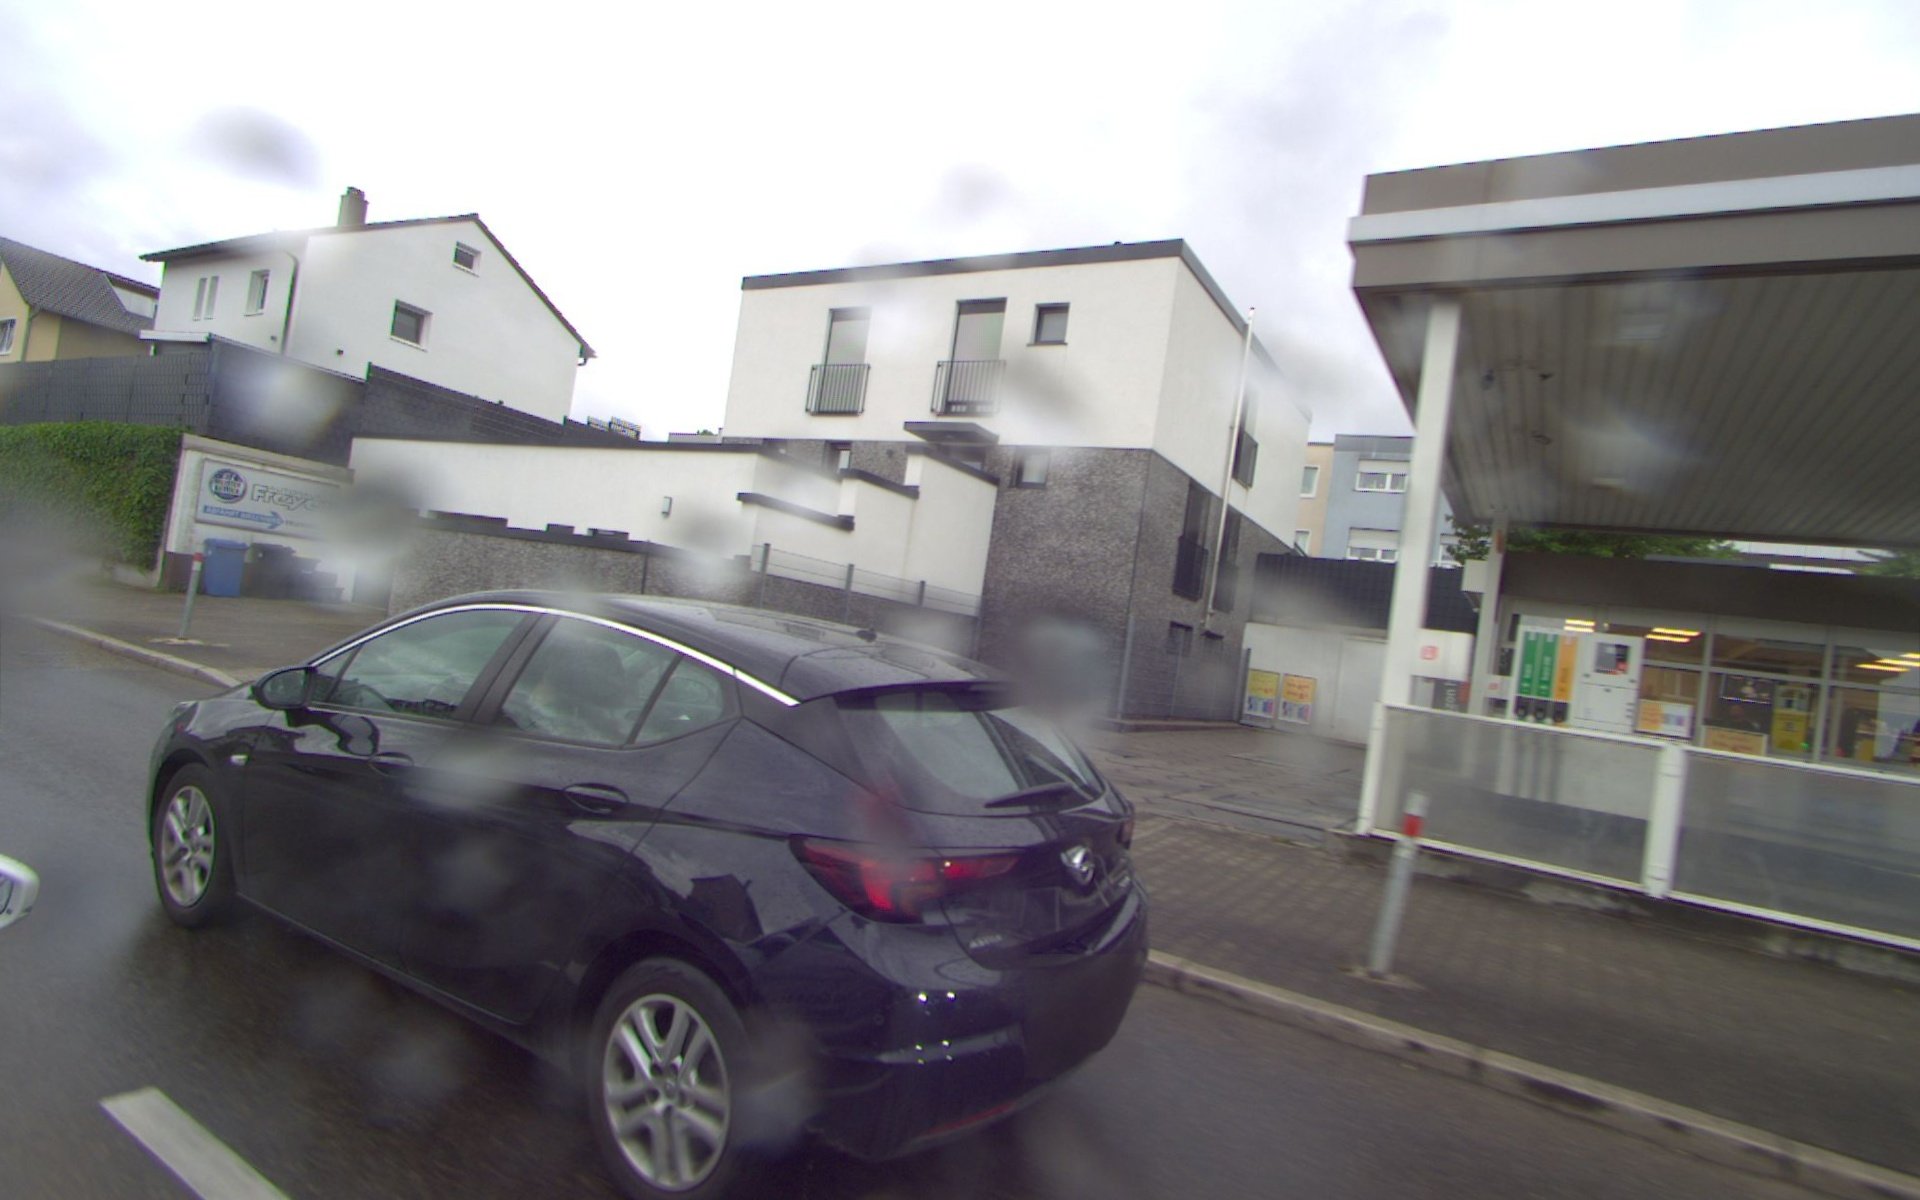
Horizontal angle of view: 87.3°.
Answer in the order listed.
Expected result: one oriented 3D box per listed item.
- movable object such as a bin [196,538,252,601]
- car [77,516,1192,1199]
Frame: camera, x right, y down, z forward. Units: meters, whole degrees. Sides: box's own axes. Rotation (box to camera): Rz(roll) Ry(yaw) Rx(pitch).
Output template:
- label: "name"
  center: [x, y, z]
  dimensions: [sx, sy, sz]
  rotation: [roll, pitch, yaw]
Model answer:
- label: "movable object such as a bin"
  center: [-14.062, -0.582, 19.231]
  dimensions: [0.656, 1.119, 0.596]
  rotation: [7, 2, 31]
- label: "car"
  center: [-1.390, 0.655, 3.790]
  dimensions: [3.934, 1.466, 1.760]
  rotation: [6, -2, 32]
